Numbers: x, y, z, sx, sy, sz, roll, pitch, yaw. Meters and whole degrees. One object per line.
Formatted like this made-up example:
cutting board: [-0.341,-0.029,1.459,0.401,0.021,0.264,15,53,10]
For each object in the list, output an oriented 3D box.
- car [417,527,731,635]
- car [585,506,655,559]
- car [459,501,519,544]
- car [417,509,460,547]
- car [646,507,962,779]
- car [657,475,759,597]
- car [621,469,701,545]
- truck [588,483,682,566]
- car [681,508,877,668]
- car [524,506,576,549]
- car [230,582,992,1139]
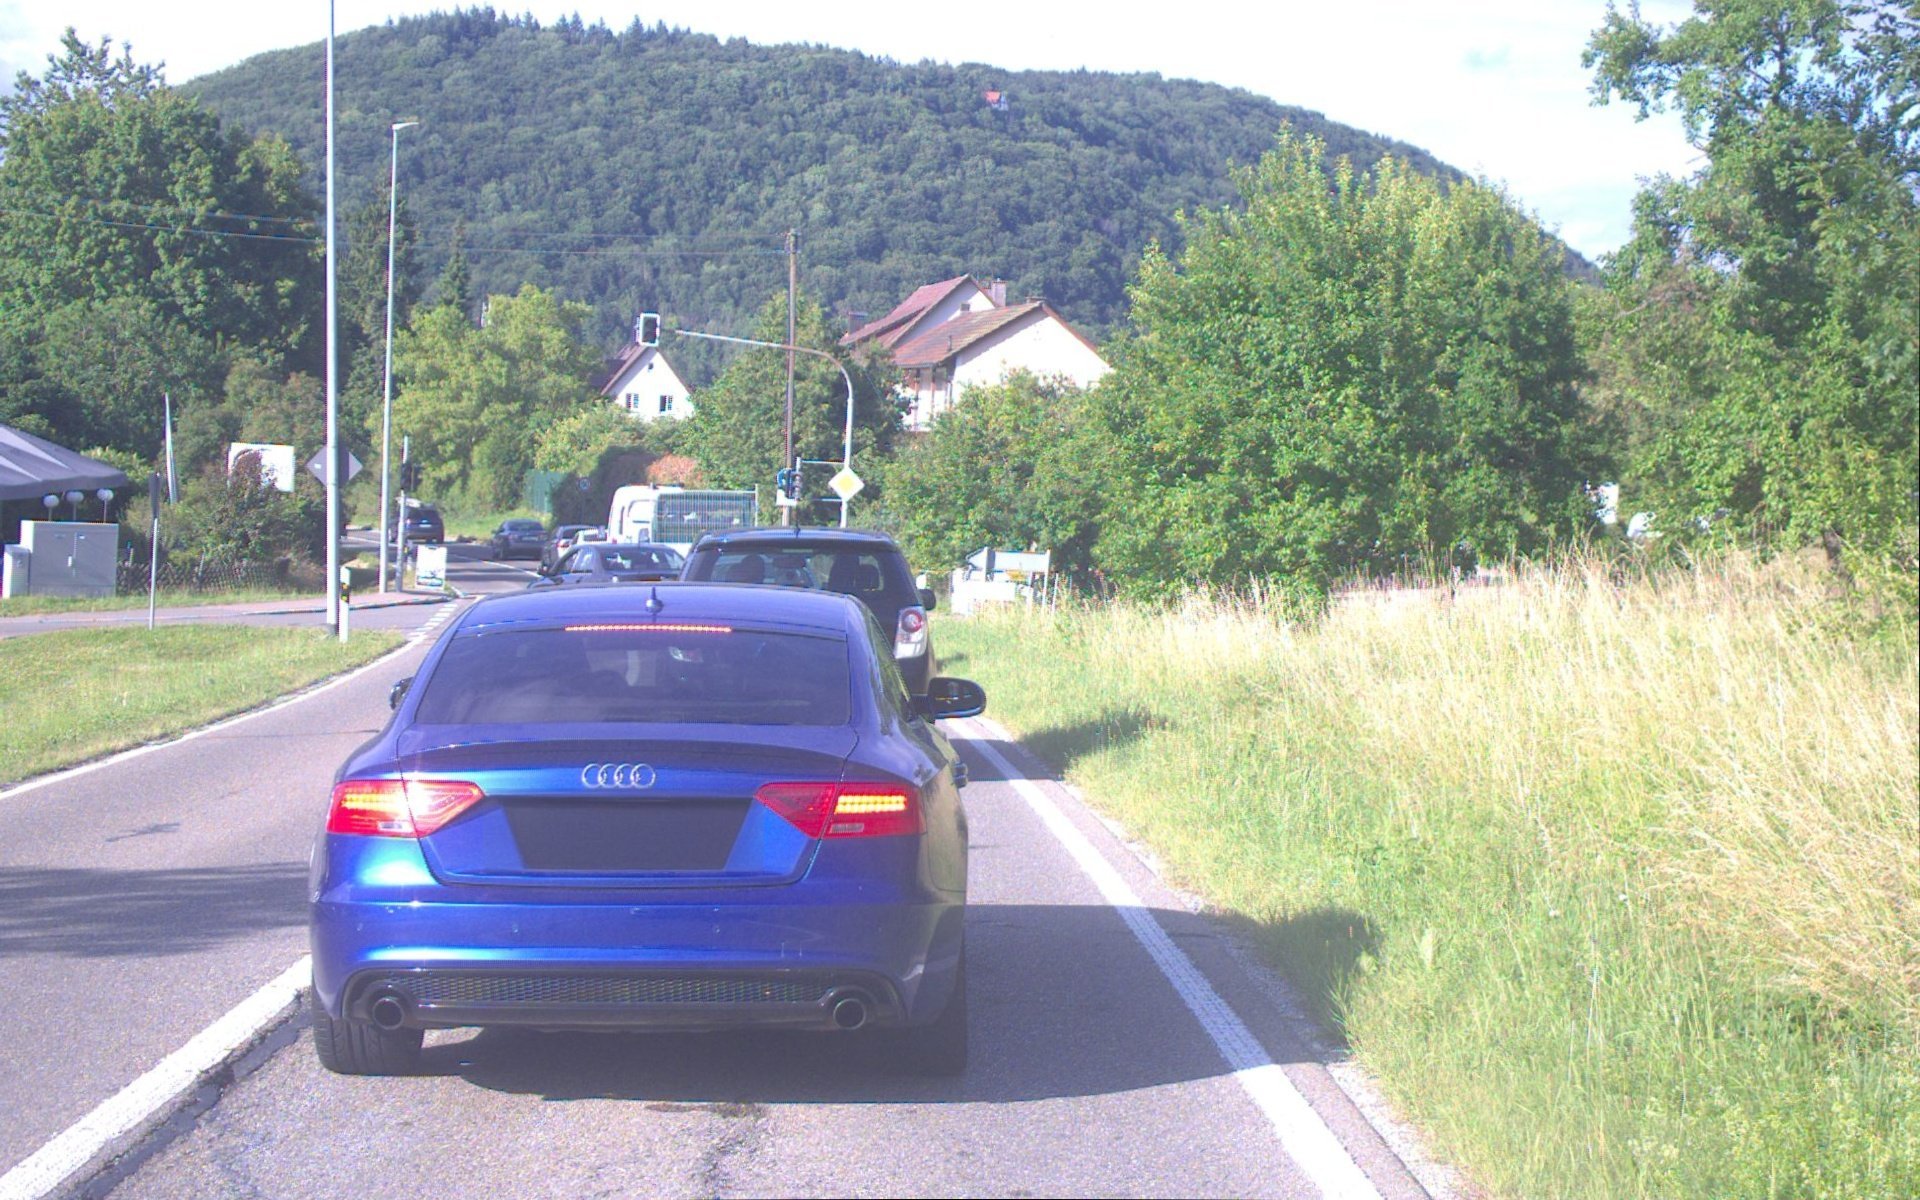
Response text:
car: [-5.480,-0.274,48.900,3.991,1.437,1.918,1,0,19]
car: [-10.034,-1.968,101.306,1.697,1.485,3.528,1,0,-11]
car: [-16.966,-2.765,123.629,1.697,1.485,3.528,1,0,-15]
car: [-22.722,-3.135,149.821,1.625,1.571,3.680,1,0,-12]
car: [-0.956,0.250,23.044,1.746,1.634,4.000,1,0,2]
car: [-4.767,-1.185,64.564,1.746,2.188,4.001,1,0,-6]
car: [-6.953,-2.133,79.612,1.746,1.634,4.001,1,0,-6]
truck: [-8.087,-1.827,85.096,1.697,1.947,5.924,1,0,-11]
car: [-1.939,-0.144,38.018,1.805,1.634,4.463,1,0,1]
car: [-14.867,-2.613,124.522,1.697,1.485,3.528,1,0,-9]
car: [-0.863,0.641,10.632,1.795,1.383,4.000,0,0,2]
